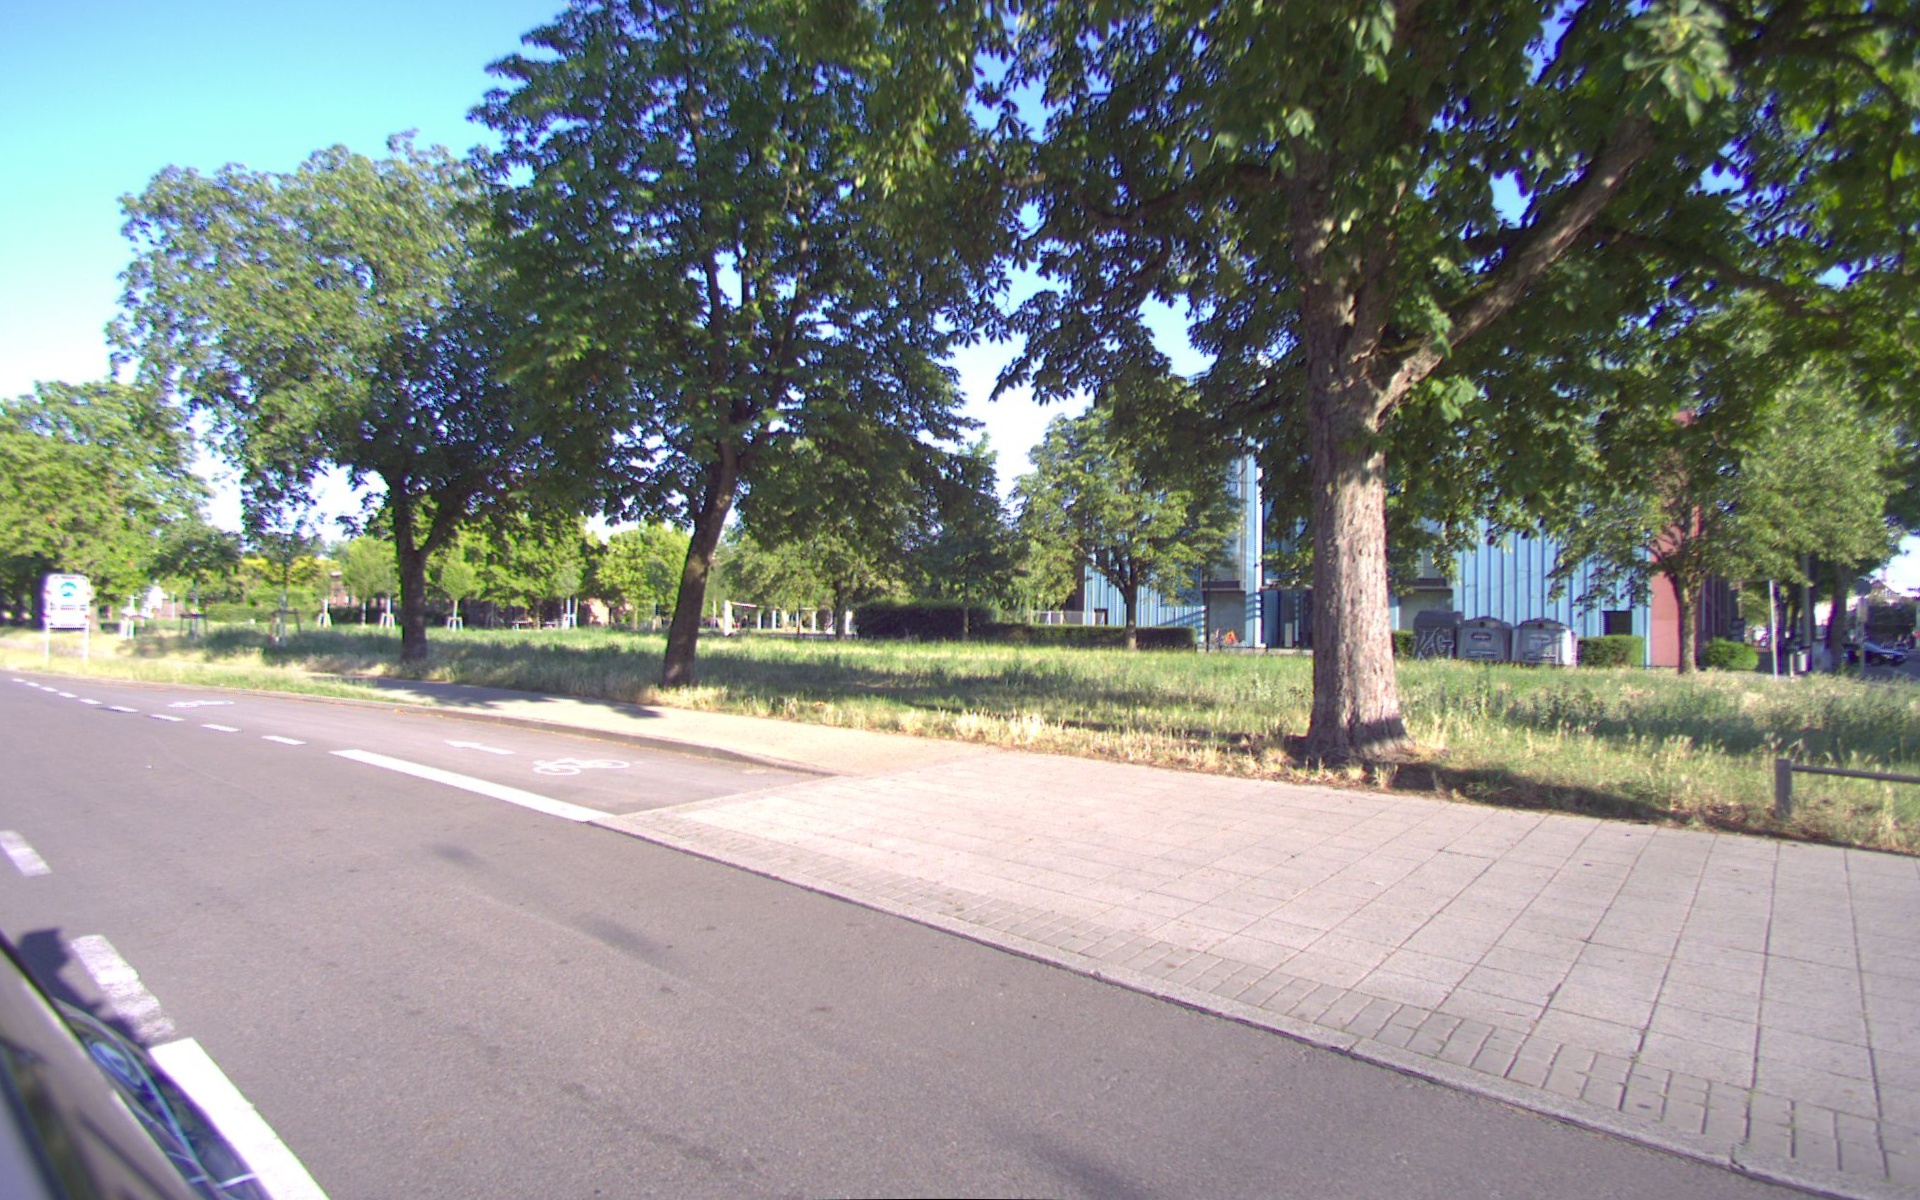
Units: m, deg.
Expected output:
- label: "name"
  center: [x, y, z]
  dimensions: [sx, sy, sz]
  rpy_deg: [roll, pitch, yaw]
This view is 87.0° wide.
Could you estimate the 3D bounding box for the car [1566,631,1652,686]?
- label: "car"
  center: [22.497, 1.938, 35.010]
  dimensions: [1.998, 1.684, 5.156]
  rpy_deg: [1, -1, 38]
